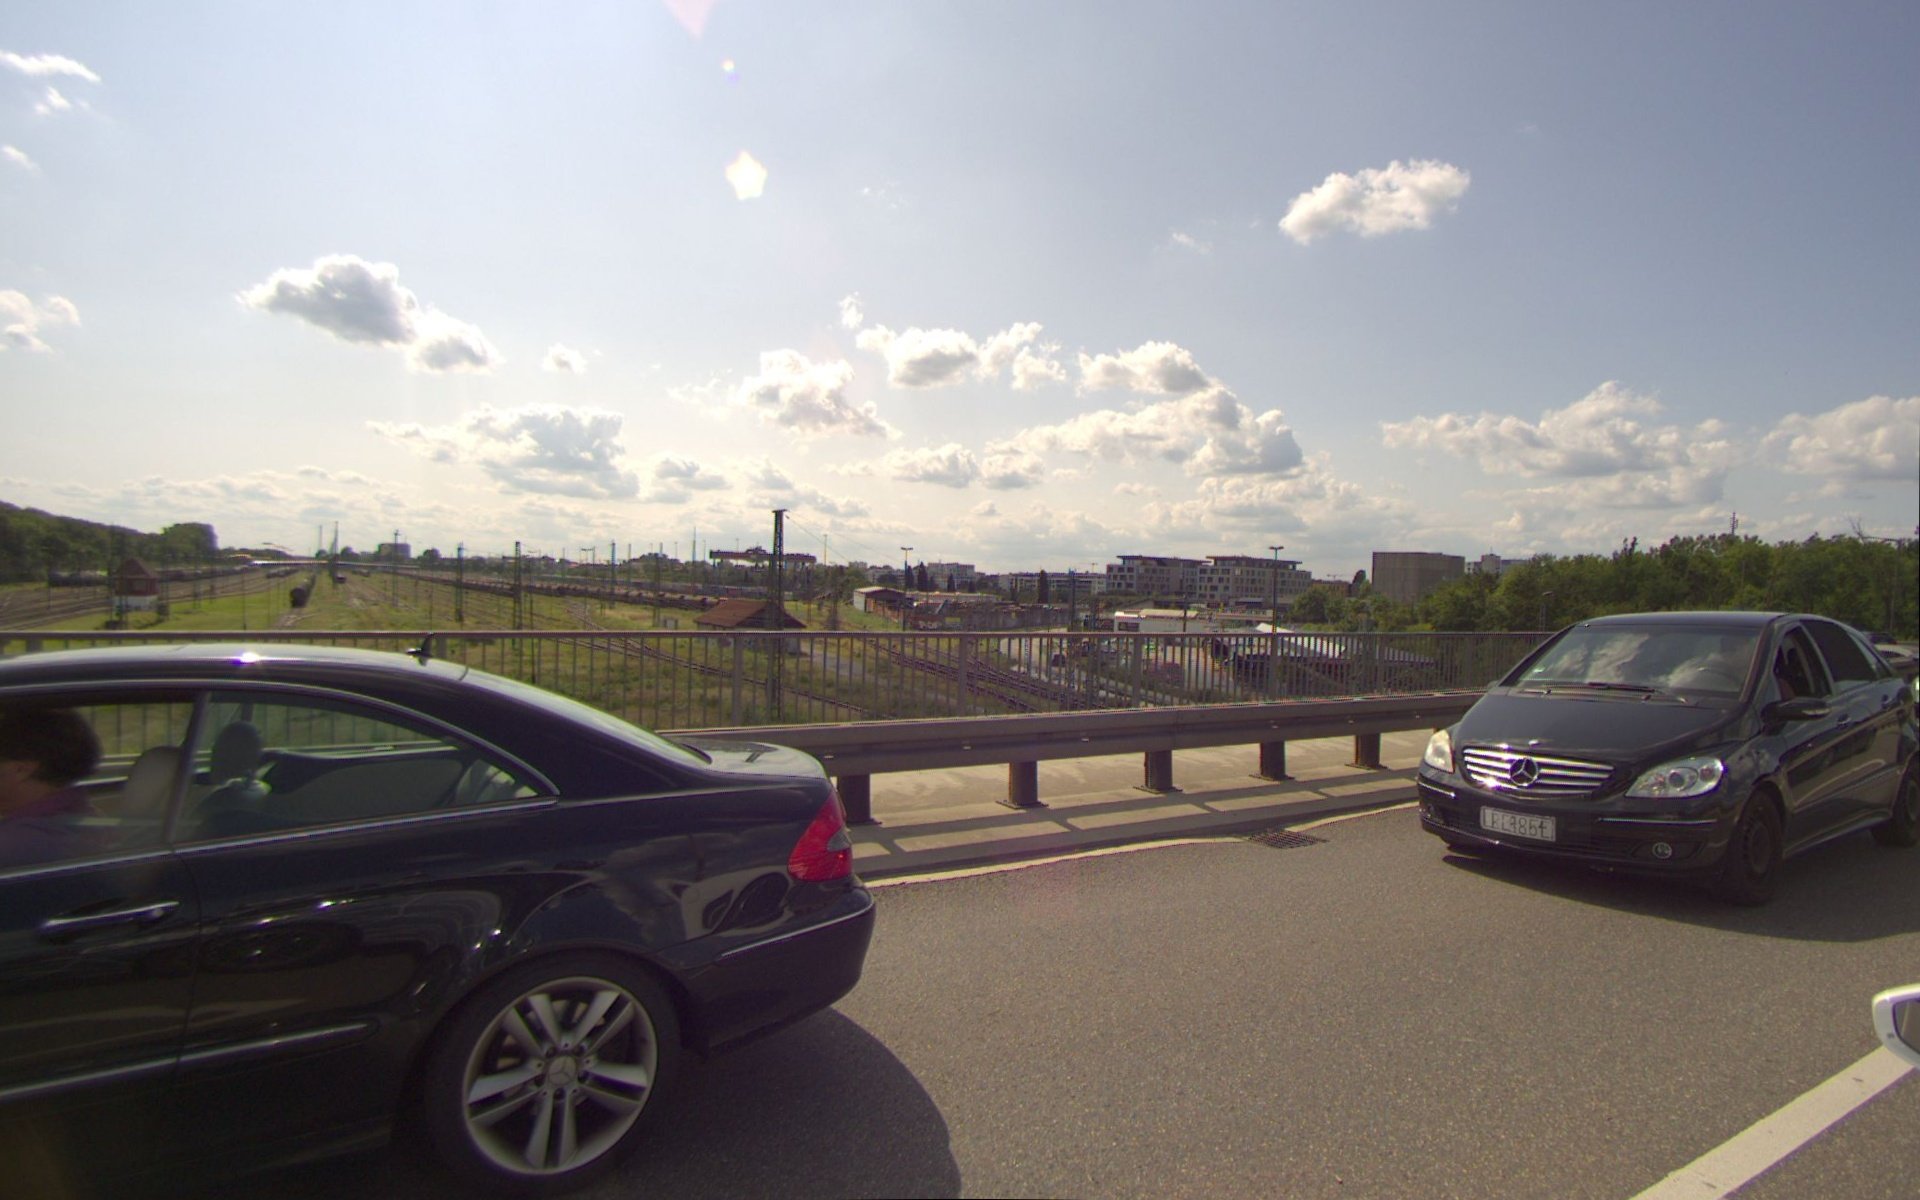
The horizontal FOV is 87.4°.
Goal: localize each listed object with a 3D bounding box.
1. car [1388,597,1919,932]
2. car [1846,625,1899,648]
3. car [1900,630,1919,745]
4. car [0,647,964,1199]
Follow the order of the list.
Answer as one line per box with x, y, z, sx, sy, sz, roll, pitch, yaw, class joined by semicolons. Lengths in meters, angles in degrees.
4.886;0.852;6.750;4.237;1.618;1.674;1;-2;-34;car
62.729;2.483;69.113;1.787;1.506;3.993;0;-1;29;car
14.062;1.130;13.353;3.855;1.461;1.861;2;-2;-40;car
-2.194;0.821;2.709;4.205;1.362;1.624;2;-2;-32;car
